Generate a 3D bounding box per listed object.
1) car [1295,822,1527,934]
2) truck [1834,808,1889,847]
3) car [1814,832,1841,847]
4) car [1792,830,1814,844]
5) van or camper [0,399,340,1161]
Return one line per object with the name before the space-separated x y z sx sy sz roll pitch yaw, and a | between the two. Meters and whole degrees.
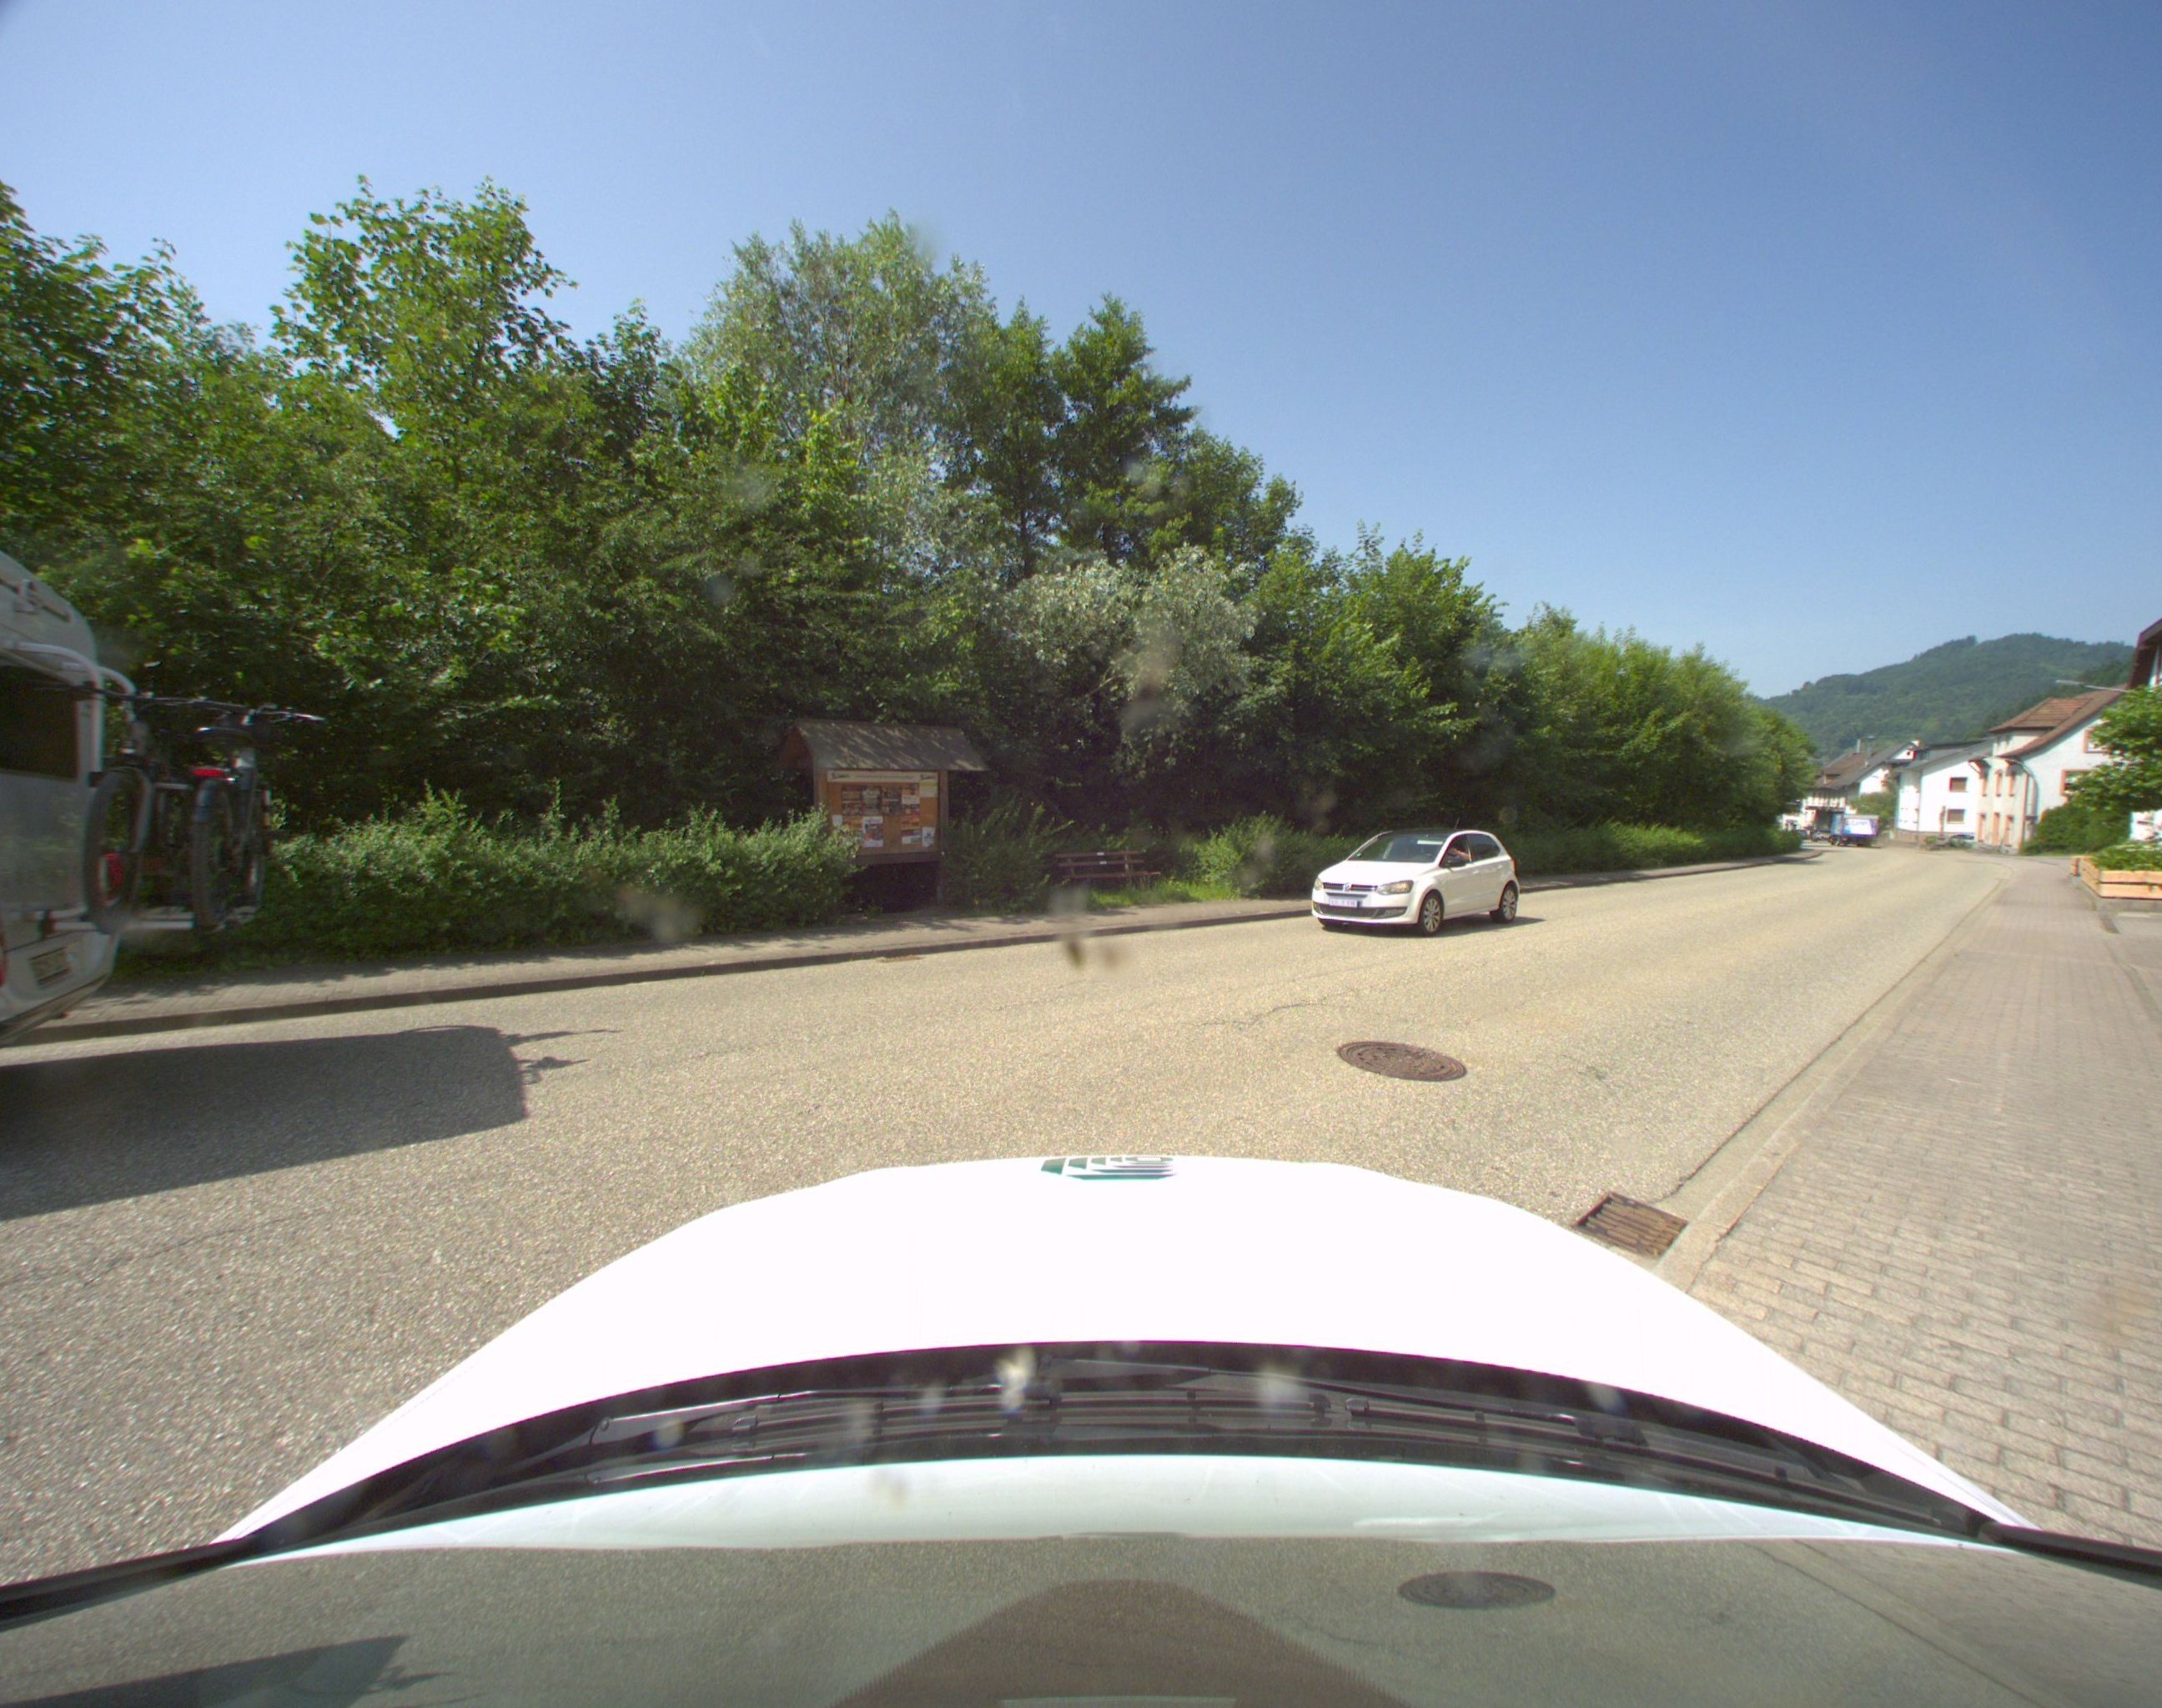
car | 5.003 0.292 12.133 3.847 1.405 1.591 0 1 -40
truck | 81.108 -2.656 84.754 3.330 3.782 8.493 -1 -1 39
car | 95.544 -1.825 104.272 1.974 1.882 4.025 -1 -1 35
car | 104.512 -2.481 117.870 1.974 1.882 4.025 -1 -1 35
van or camper | -7.418 -0.264 2.016 8.092 2.952 2.339 -1 2 -39
